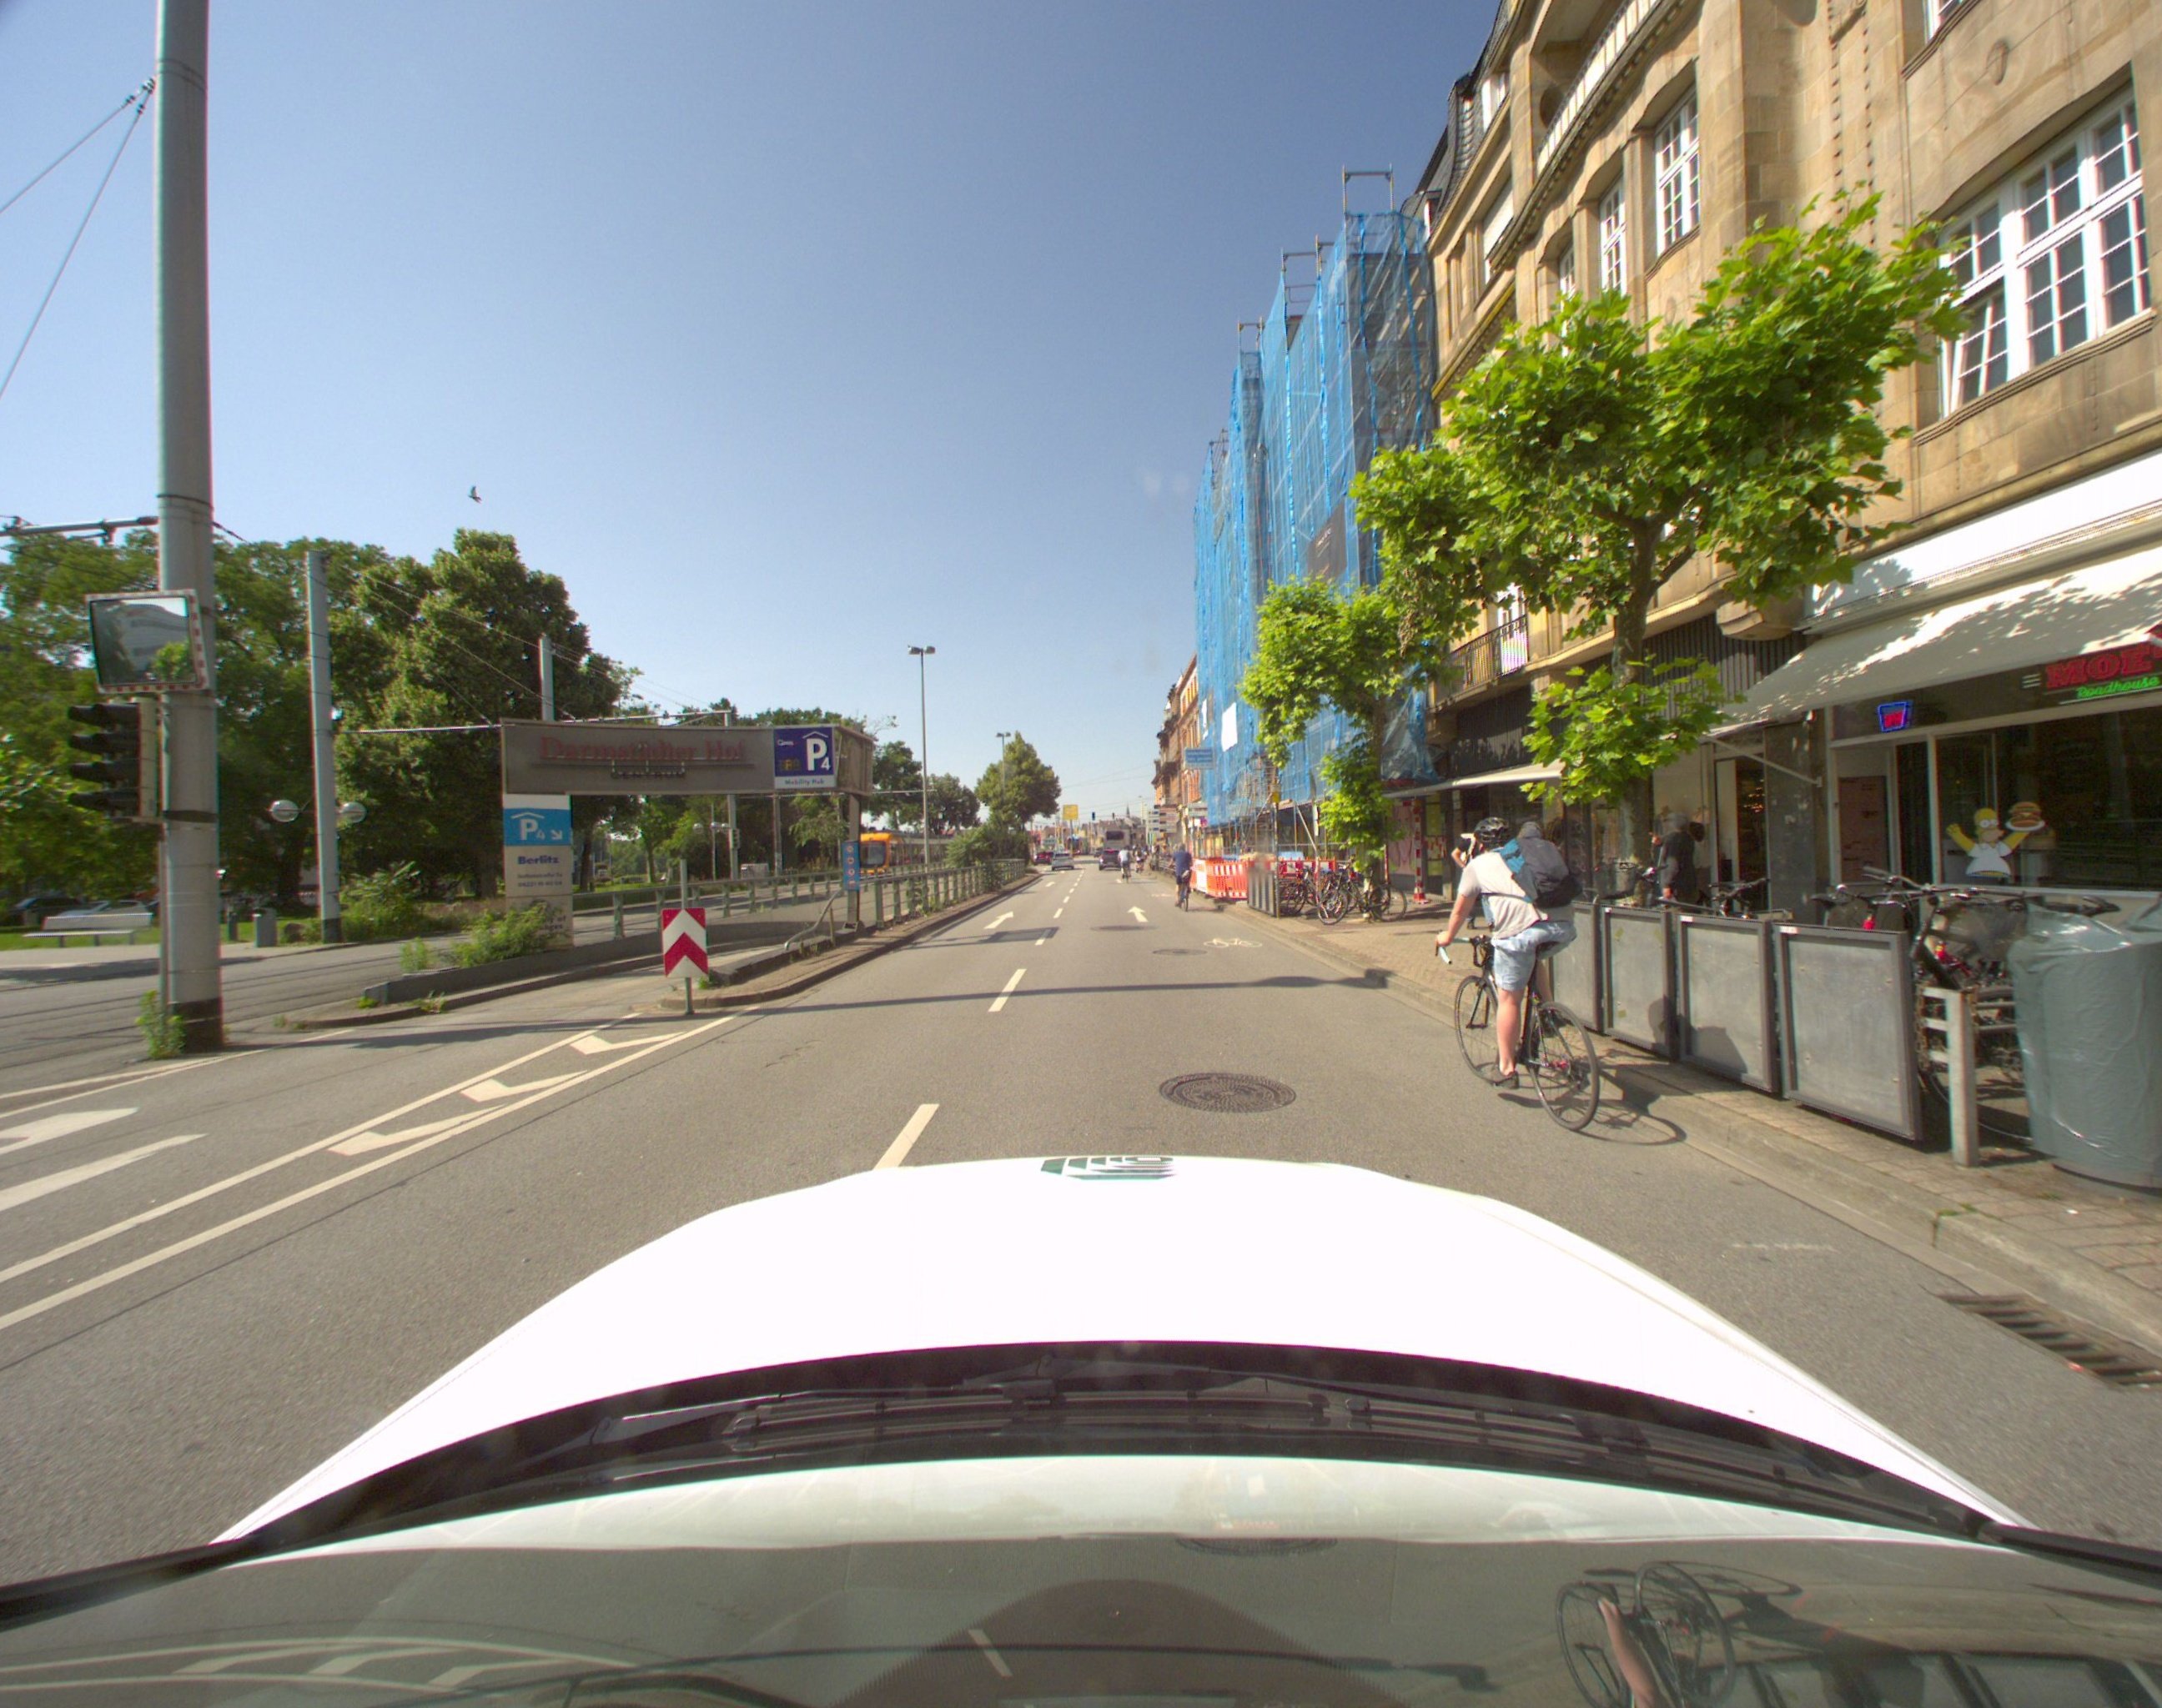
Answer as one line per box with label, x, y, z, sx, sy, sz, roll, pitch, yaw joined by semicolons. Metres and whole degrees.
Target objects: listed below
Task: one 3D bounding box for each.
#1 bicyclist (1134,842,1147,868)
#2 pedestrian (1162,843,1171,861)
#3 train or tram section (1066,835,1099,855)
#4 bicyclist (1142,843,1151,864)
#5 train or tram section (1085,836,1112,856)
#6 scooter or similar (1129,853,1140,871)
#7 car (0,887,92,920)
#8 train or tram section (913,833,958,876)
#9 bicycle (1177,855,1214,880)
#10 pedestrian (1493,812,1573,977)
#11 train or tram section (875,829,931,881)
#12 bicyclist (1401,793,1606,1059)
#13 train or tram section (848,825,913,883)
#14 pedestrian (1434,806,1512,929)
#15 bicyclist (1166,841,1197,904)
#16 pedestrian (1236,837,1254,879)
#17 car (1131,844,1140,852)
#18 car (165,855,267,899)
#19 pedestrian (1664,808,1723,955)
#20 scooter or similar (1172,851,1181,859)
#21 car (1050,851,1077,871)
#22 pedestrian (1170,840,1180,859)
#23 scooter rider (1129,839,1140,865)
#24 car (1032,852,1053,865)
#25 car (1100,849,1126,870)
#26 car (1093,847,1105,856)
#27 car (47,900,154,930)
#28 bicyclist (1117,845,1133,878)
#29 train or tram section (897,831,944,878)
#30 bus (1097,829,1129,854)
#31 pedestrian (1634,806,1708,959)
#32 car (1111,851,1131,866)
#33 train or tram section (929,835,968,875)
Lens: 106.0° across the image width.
bicyclist;3.590;0.066;49.375;0.686;1.577;1.049;0;0;0
pedestrian;7.996;-0.169;76.132;0.652;1.620;0.815;-2;1;0
train or tram section;0.336;-1.575;148.056;2.800;3.581;10.079;0;0;19
bicyclist;6.051;-0.065;75.296;0.686;1.962;0.778;0;0;1
train or tram section;3.381;-1.524;156.852;2.800;3.581;8.264;0;0;19
scooter or similar;3.533;0.536;54.062;0.686;1.167;1.464;0;0;1
car;-61.232;2.821;47.357;1.752;1.663;4.836;1;0;-4
train or tram section;-12.657;0.085;71.348;2.604;3.581;6.899;0;0;1
bicycle;5.537;0.661;39.360;1.687;1.178;0.609;0;0;1
pedestrian;4.837;0.421;8.754;0.650;1.683;0.657;-2;-1;24
train or tram section;-12.898;0.047;59.493;2.604;3.581;6.104;0;0;1
bicyclist;2.557;0.401;5.065;0.686;1.463;1.143;0;0;0
train or tram section;-13.029;0.027;53.389;2.604;3.581;6.104;0;0;1
pedestrian;6.194;0.214;12.917;0.809;1.848;0.893;-3;-1;9
bicyclist;2.656;0.484;21.561;0.686;1.616;0.918;0;0;0
pedestrian;7.076;0.166;35.087;0.637;1.776;0.649;0;0;1
car;12.200;-1.329;182.404;1.984;1.878;4.006;-2;0;5
car;-67.970;1.770;64.127;2.119;3.316;5.420;0;0;1
pedestrian;7.199;0.322;9.582;0.377;1.683;0.479;-3;-1;23
scooter or similar;8.546;0.093;72.916;0.689;0.650;0.565;-5;-1;0
car;-1.343;0.554;64.286;1.851;1.507;4.002;0;0;2
pedestrian;8.479;-0.402;73.500;0.753;1.656;0.837;-5;-1;0
scooter rider;3.557;-0.150;54.104;0.686;1.729;0.778;0;0;1
car;-4.058;0.442;85.893;1.808;1.332;4.002;0;0;2
car;2.361;0.401;60.135;1.866;1.492;4.002;0;0;2
car;2.700;-0.345;119.222;1.444;1.300;3.347;0;0;6
car;-59.038;3.662;49.133;1.752;1.508;3.994;1;0;-4
bicyclist;2.118;0.346;39.352;0.686;1.577;1.049;0;0;0
train or tram section;-12.777;0.065;65.234;2.604;3.581;5.358;0;0;1
bus;3.795;-1.462;99.529;2.963;2.776;8.628;1;0;-4
pedestrian;6.779;0.318;9.358;0.540;1.683;0.493;-2;-2;-41
car;4.011;0.481;82.154;1.986;1.492;4.002;0;0;2
train or tram section;-12.544;0.105;77.784;2.604;3.581;6.018;0;0;1
